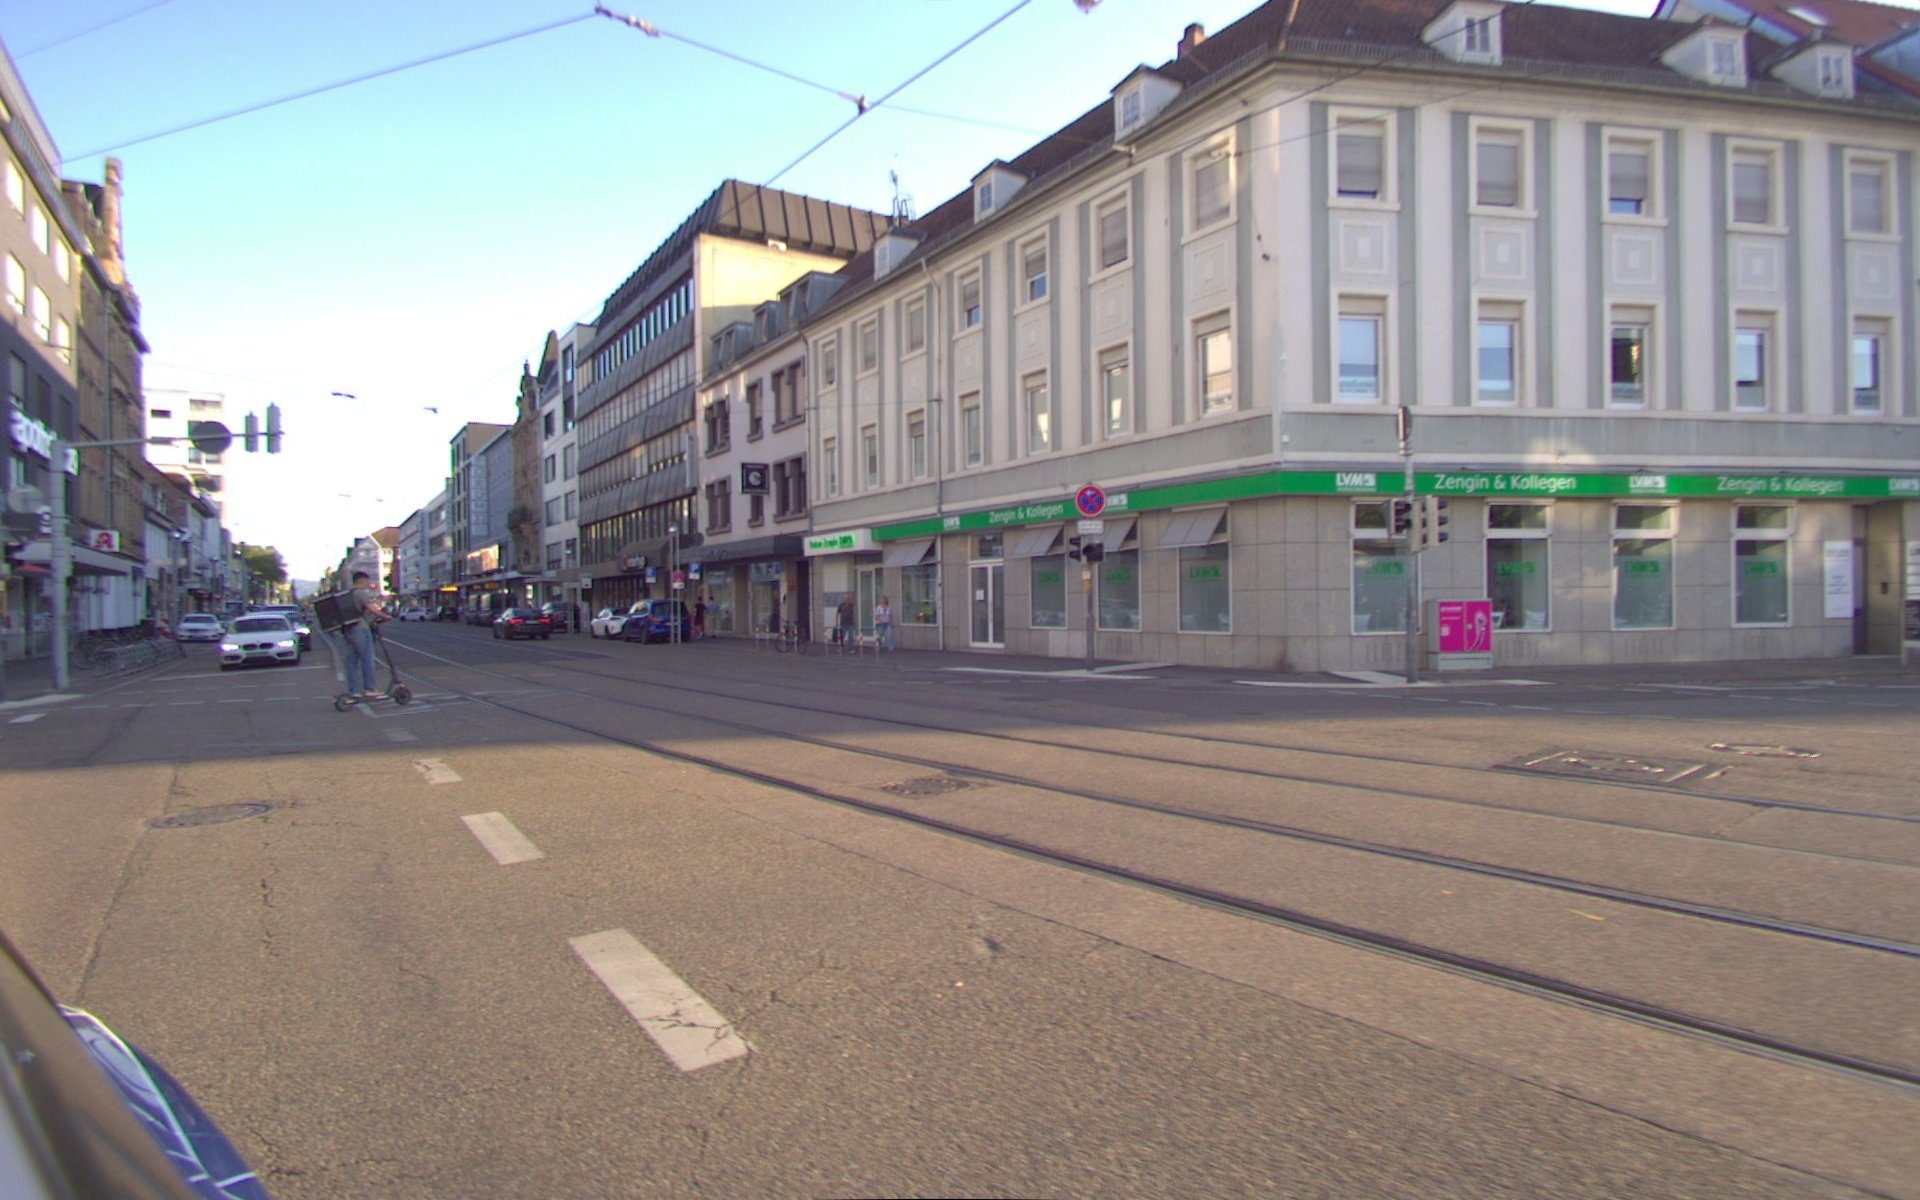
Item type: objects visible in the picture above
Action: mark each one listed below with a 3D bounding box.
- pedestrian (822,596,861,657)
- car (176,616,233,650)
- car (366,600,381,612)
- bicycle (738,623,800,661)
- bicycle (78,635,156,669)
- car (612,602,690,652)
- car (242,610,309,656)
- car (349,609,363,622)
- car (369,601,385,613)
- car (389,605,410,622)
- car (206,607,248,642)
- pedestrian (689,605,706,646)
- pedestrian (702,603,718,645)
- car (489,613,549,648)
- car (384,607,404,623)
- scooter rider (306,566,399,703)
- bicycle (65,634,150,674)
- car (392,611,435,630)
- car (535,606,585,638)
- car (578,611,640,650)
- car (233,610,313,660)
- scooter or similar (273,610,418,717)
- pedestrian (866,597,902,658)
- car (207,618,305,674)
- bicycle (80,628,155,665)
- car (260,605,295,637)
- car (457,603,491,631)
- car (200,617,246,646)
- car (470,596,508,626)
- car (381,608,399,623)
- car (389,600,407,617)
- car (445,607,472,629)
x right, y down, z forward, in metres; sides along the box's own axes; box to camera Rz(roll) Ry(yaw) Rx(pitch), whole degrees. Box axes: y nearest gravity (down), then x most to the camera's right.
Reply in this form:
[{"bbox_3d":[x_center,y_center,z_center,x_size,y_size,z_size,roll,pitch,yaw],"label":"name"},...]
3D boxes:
[{"bbox_3d":[-3.482,0.780,29.818,0.814,1.741,0.816,-2,0,-33],"label":"pedestrian"},{"bbox_3d":[-37.693,1.628,50.576,2.009,1.571,4.398,-1,0,-34],"label":"car"},{"bbox_3d":[-105.285,1.013,181.568,1.967,2.029,4.010,-1,1,-35],"label":"car"},{"bbox_3d":[-5.659,1.243,30.058,1.712,1.067,0.500,-1,-3,-24],"label":"bicycle"},{"bbox_3d":[-24.720,1.515,29.699,1.734,0.956,0.444,1,0,-39],"label":"bicycle"},{"bbox_3d":[-12.509,1.038,40.810,1.884,1.809,4.140,-2,1,-34],"label":"car"},{"bbox_3d":[-26.346,1.230,39.052,1.966,1.652,4.011,-1,-1,-32],"label":"car"},{"bbox_3d":[-107.684,2.751,180.428,1.967,2.029,4.010,-1,1,-35],"label":"car"},{"bbox_3d":[-102.218,1.177,177.419,1.967,2.029,4.010,-1,1,-35],"label":"car"},{"bbox_3d":[-72.937,1.727,131.724,1.967,2.029,4.010,-1,1,-35],"label":"car"},{"bbox_3d":[-47.146,1.543,65.139,2.009,2.133,4.398,-1,0,-34],"label":"car"},{"bbox_3d":[-11.013,1.051,42.417,0.501,1.697,0.585,-1,1,-34],"label":"pedestrian"},{"bbox_3d":[-10.594,1.018,42.865,0.507,1.747,0.602,-1,1,-33],"label":"pedestrian"},{"bbox_3d":[-20.264,1.392,46.386,1.864,1.491,4.555,1,-2,-32],"label":"car"},{"bbox_3d":[-76.775,2.042,137.189,1.943,2.029,4.010,-1,1,-35],"label":"car"},{"bbox_3d":[-8.379,0.461,13.961,0.811,1.821,0.780,-2,0,31],"label":"scooter rider"},{"bbox_3d":[-23.926,1.515,28.447,1.800,1.039,0.444,-1,-1,-39],"label":"bicycle"},{"bbox_3d":[-56.455,2.112,104.528,3.802,1.761,1.798,0,1,16],"label":"car"},{"bbox_3d":[-22.158,1.194,55.979,1.790,1.569,4.011,-1,1,-33],"label":"car"},{"bbox_3d":[-15.935,1.371,45.868,1.674,1.635,4.011,-1,0,-34],"label":"car"},{"bbox_3d":[-23.669,1.163,35.001,1.966,1.490,4.013,-1,1,-30],"label":"car"},{"bbox_3d":[-8.410,0.830,13.918,0.544,1.361,1.652,-1,-1,31],"label":"scooter or similar"},{"bbox_3d":[-2.151,0.773,28.656,0.814,1.653,0.816,-2,0,-17],"label":"pedestrian"},{"bbox_3d":[-19.438,1.217,28.095,1.884,1.369,3.757,-2,0,-30],"label":"car"},{"bbox_3d":[-25.605,1.393,30.790,1.734,1.079,0.444,1,0,-39],"label":"bicycle"},{"bbox_3d":[-47.413,1.445,70.287,1.967,2.029,4.011,-1,1,-34],"label":"car"},{"bbox_3d":[-38.484,1.294,80.052,1.966,2.074,4.012,-1,1,-32],"label":"car"},{"bbox_3d":[-44.157,1.854,60.707,2.009,1.571,4.398,-1,0,-34],"label":"car"},{"bbox_3d":[-34.676,0.769,74.461,1.966,2.029,4.012,-1,1,-33],"label":"car"},{"bbox_3d":[-83.770,2.271,148.702,1.929,2.029,4.010,-1,1,-35],"label":"car"},{"bbox_3d":[-79.457,1.183,143.031,1.944,2.209,4.145,-1,1,-33],"label":"car"},{"bbox_3d":[-47.421,1.692,95.712,1.804,1.931,4.011,-1,1,-34],"label":"car"}]
